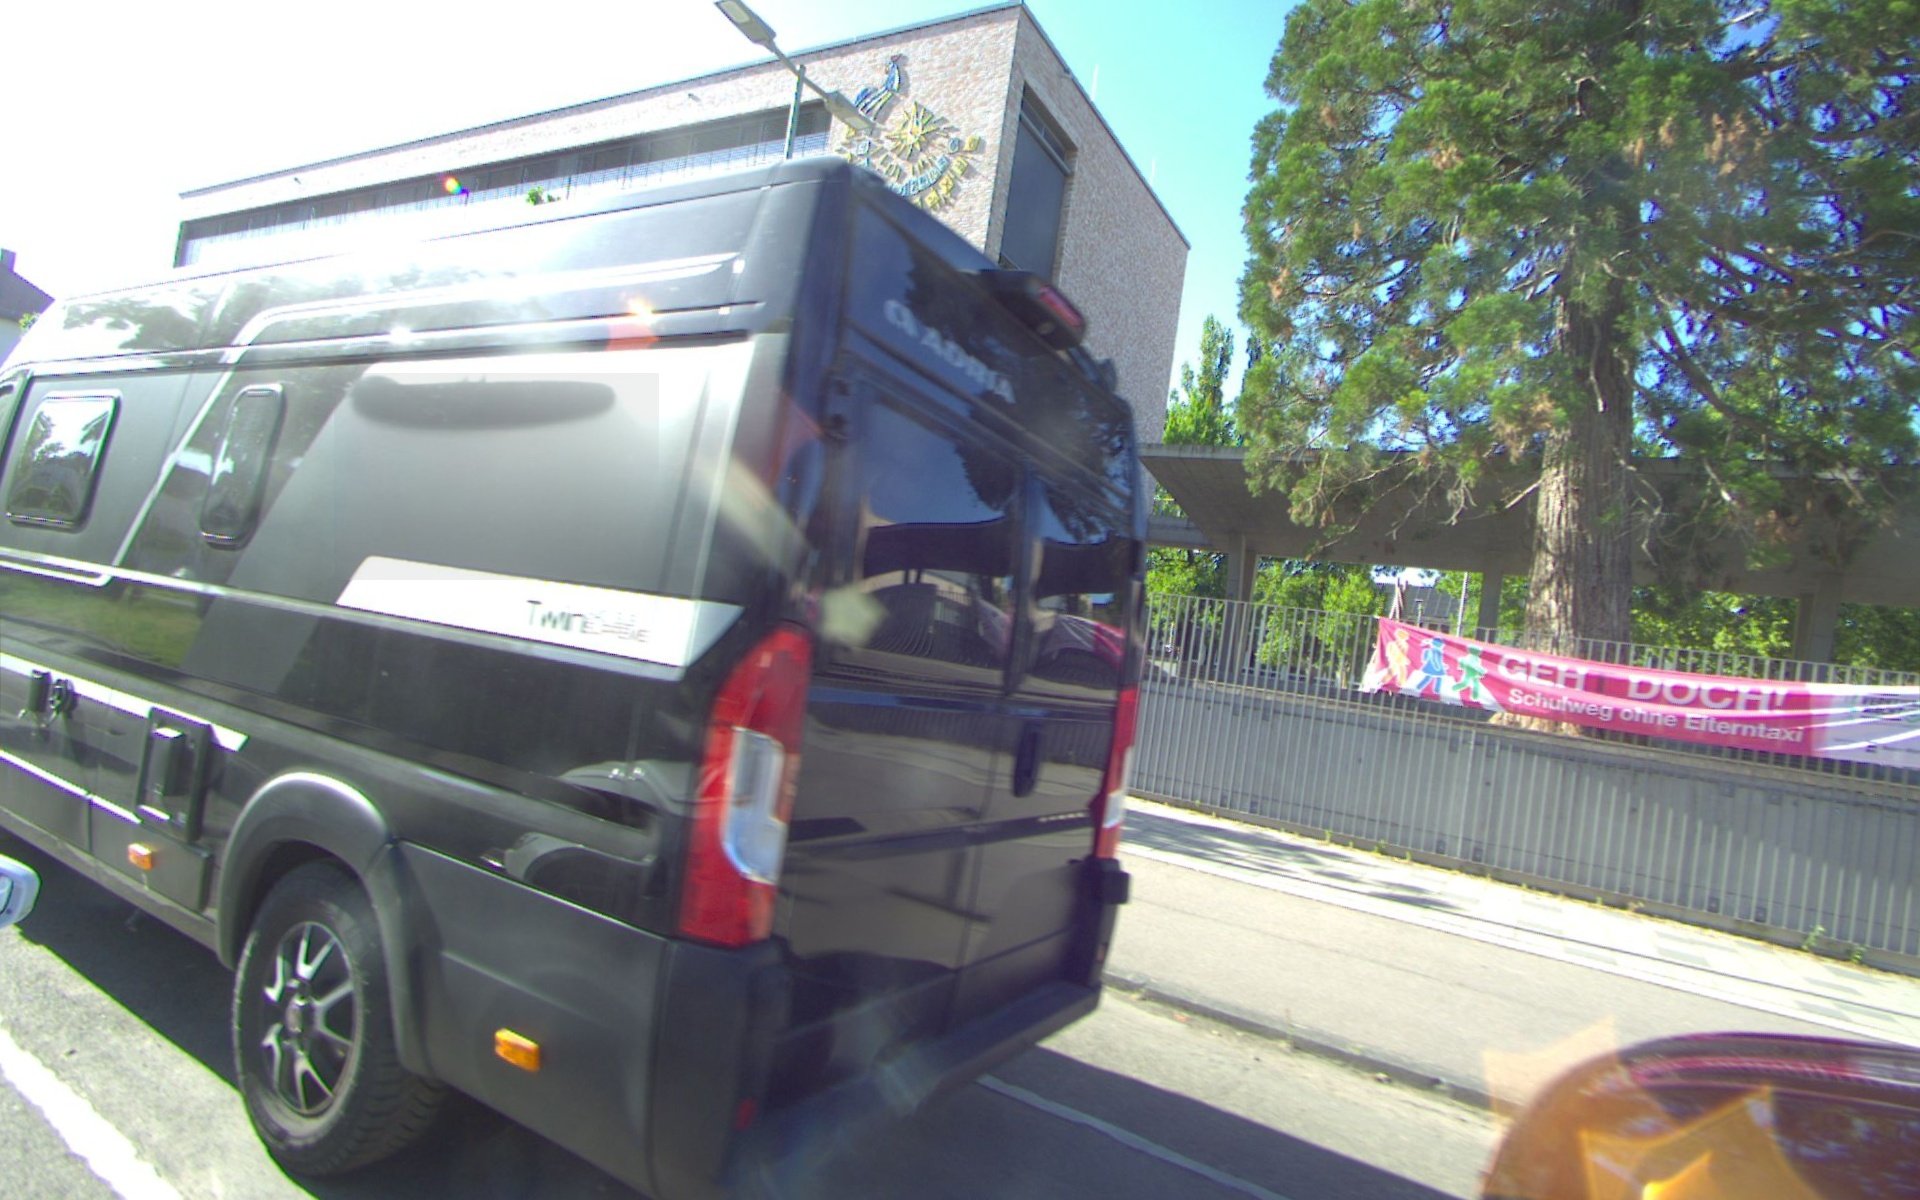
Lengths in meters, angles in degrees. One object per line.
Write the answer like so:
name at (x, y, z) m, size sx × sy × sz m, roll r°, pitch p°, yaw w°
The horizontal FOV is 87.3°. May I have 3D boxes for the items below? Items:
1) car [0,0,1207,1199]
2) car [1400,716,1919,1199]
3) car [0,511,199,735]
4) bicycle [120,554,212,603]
car at (-2.560, 0.027, 4.232) m, size 6.421 × 2.544 × 2.121 m, roll 7°, pitch -2°, yaw 30°
car at (2.680, 1.176, 1.123) m, size 3.884 × 1.471 × 1.799 m, roll 6°, pitch -3°, yaw 31°
car at (-8.098, -0.057, 7.728) m, size 4.559 × 1.436 × 1.998 m, roll 6°, pitch -3°, yaw 32°
bicycle at (-21.343, -0.565, 27.076) m, size 0.491 × 1.121 × 1.798 m, roll 7°, pitch -1°, yaw 29°
